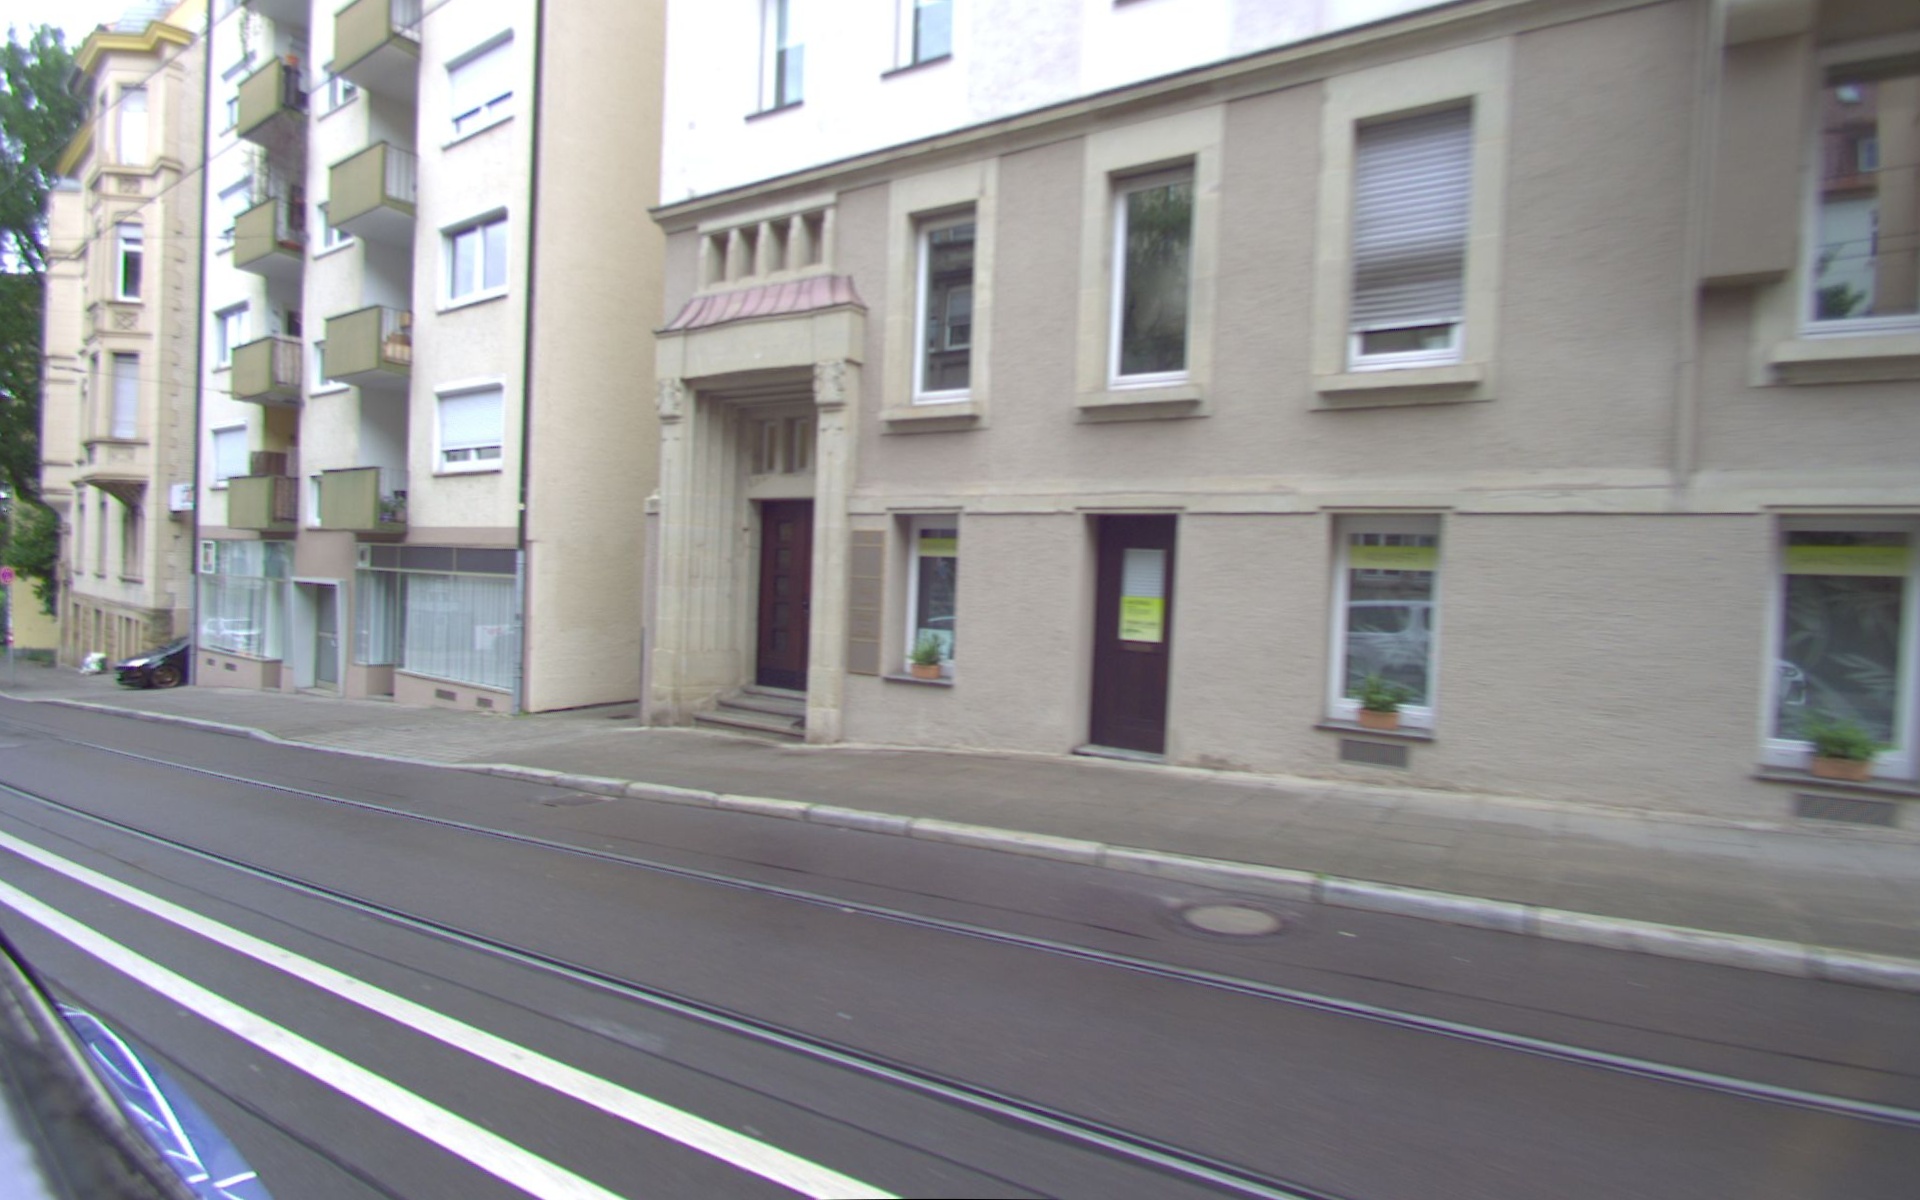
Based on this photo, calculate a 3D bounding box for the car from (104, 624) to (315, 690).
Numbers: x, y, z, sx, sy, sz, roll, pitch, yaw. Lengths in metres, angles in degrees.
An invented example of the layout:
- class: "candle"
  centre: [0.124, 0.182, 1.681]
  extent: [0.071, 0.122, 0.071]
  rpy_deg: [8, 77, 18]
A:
- class: "car"
  centre: [-18.638, 1.359, 25.261]
  extent: [1.739, 1.465, 3.947]
  rpy_deg: [-1, -1, 39]
